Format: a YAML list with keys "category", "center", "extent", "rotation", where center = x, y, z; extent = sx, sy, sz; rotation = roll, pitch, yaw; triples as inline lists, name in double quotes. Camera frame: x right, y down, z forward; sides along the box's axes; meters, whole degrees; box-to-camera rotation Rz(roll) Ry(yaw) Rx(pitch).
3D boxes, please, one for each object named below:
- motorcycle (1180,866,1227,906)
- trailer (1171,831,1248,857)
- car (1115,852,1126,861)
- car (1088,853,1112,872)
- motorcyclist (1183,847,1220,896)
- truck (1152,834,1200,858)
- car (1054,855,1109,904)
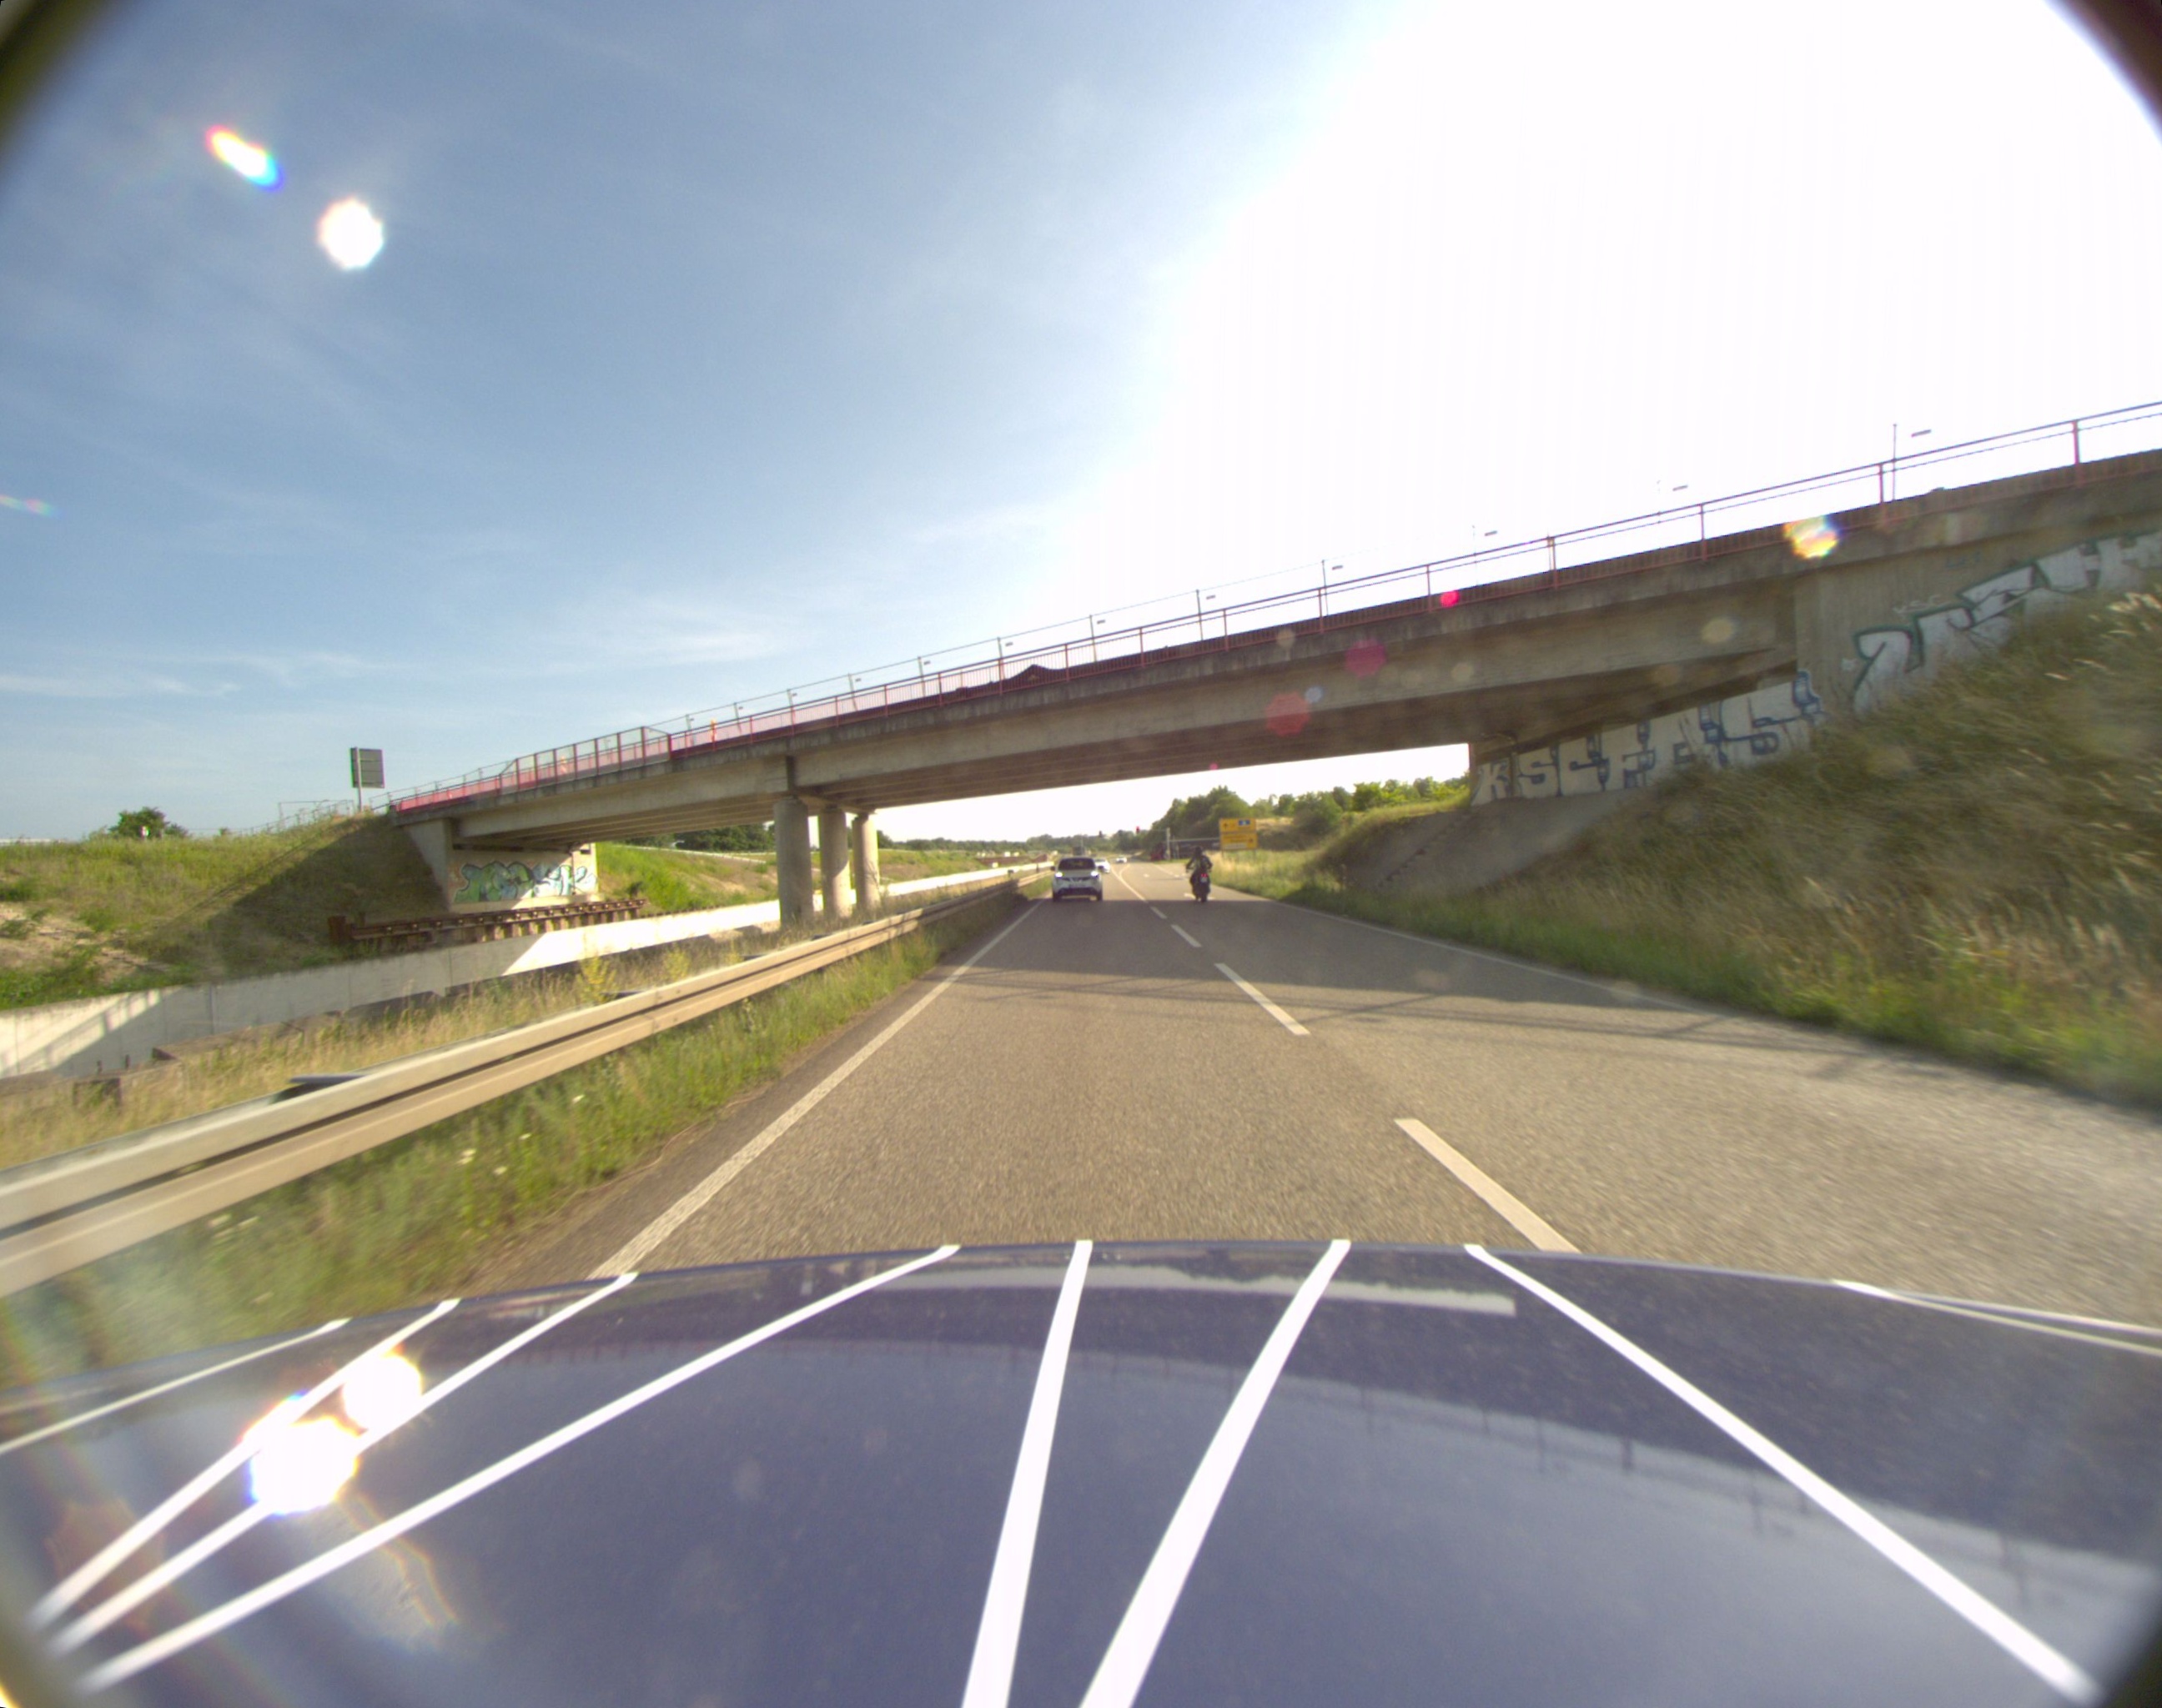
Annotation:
- category: "motorcycle"
  center: [3.785, 0.962, 23.653]
  extent: [1.044, 1.111, 2.132]
  rotation: [-2, 0, -1]
- category: "trailer"
  center: [24.163, -1.816, 143.236]
  extent: [13.774, 4.089, 3.563]
  rotation: [-3, 1, 15]
- category: "car"
  center: [7.685, 0.421, 146.840]
  extent: [1.998, 1.602, 4.198]
  rotation: [-3, 0, 3]
- category: "car"
  center: [1.682, 0.744, 67.536]
  extent: [1.908, 1.512, 4.465]
  rotation: [-3, 0, 0]
- category: "motorcyclist"
  center: [3.745, 0.527, 23.685]
  extent: [0.881, 1.443, 1.283]
  rotation: [-2, 1, -1]
- category: "truck"
  center: [18.123, -1.467, 144.902]
  extent: [8.386, 4.089, 3.563]
  rotation: [-3, 1, 15]
- category: "car"
  center: [-0.061, 0.862, 27.922]
  extent: [1.789, 1.593, 4.571]
  rotation: [-2, 0, -2]
